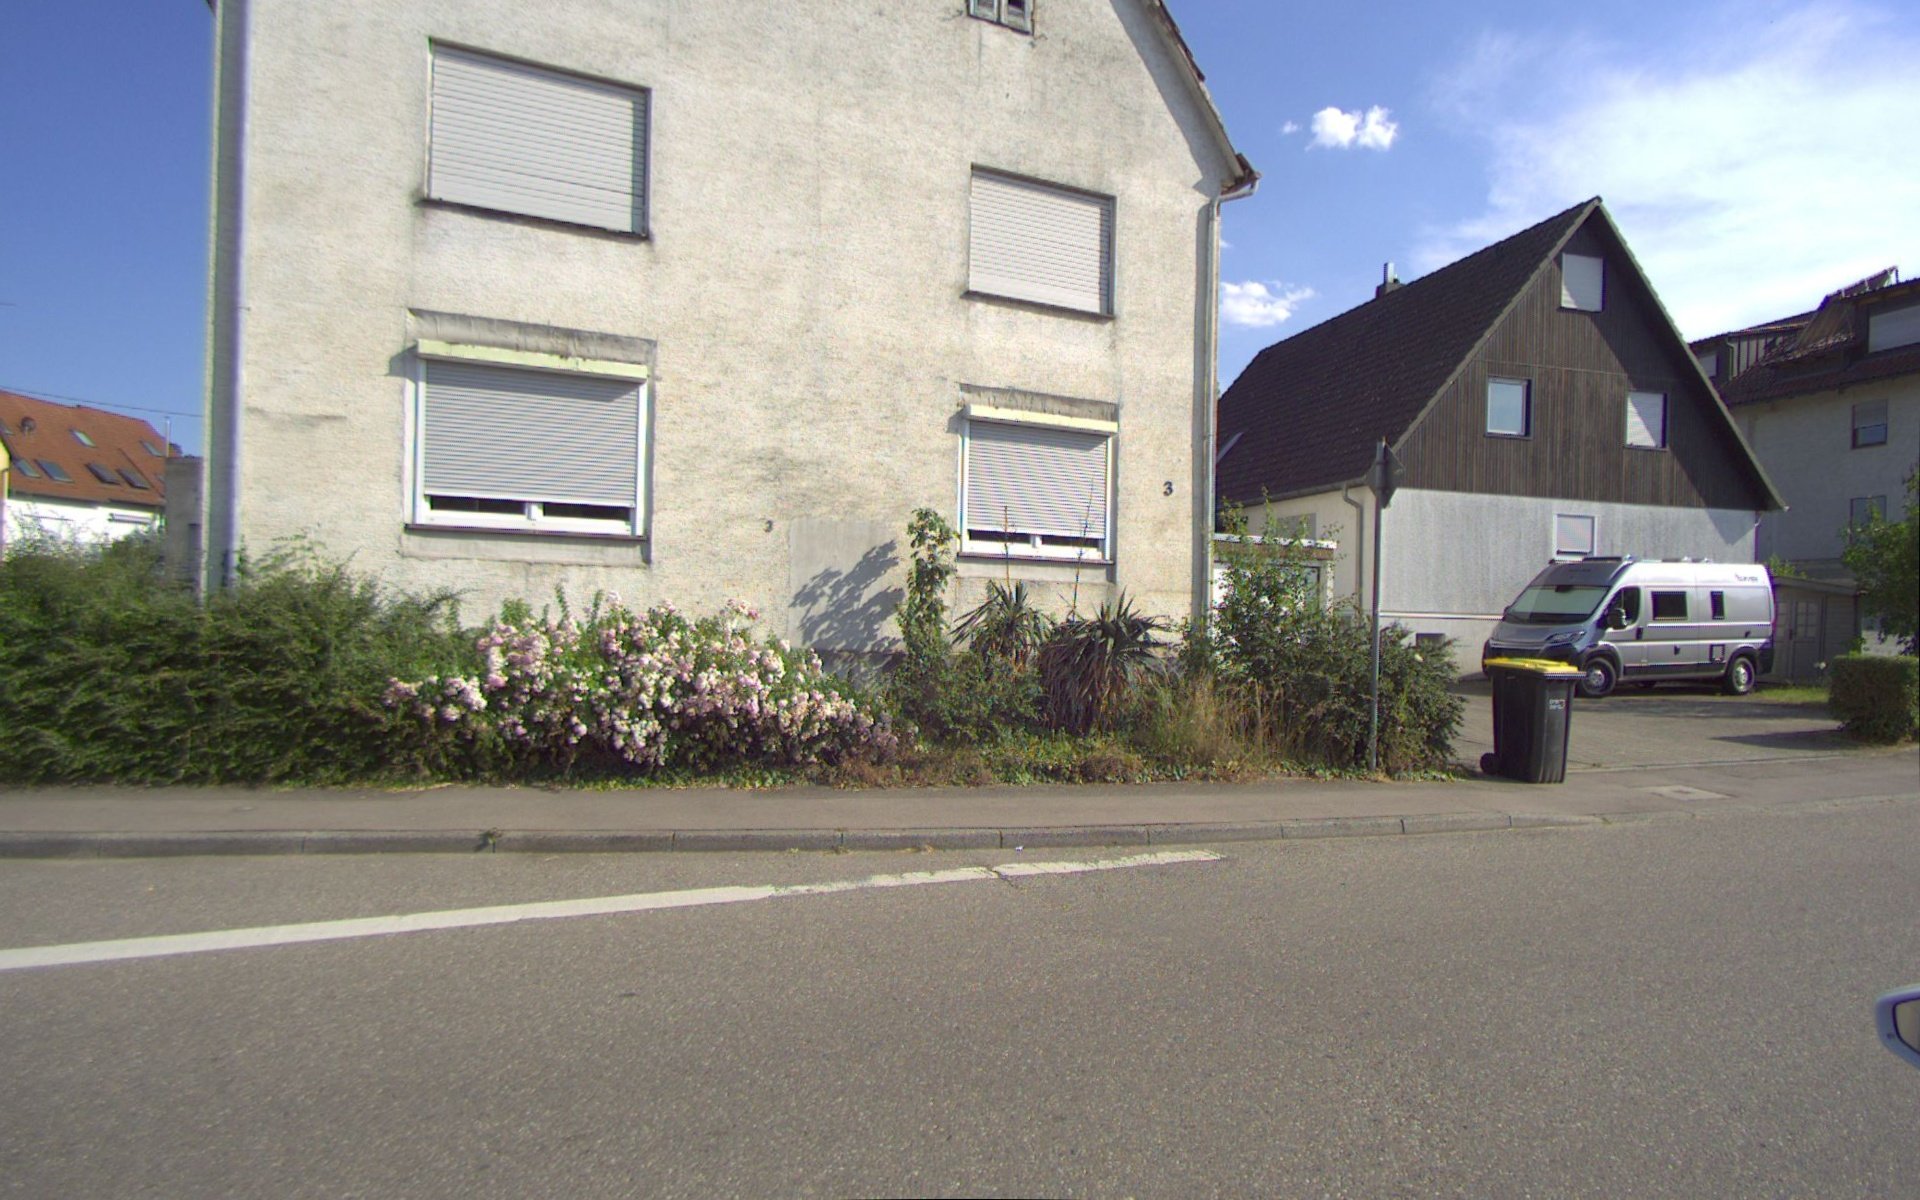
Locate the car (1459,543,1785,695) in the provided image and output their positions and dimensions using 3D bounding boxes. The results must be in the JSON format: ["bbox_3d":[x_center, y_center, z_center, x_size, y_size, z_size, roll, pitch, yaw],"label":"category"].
[{"bbox_3d":[12.801,0.385,19.406,6.004,2.630,2.154,1,1,-22],"label":"car"}]

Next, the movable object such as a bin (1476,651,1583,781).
[{"bbox_3d":[5.259,1.055,9.291,0.568,1.116,0.609,3,0,-25],"label":"movable object such as a bin"}]
